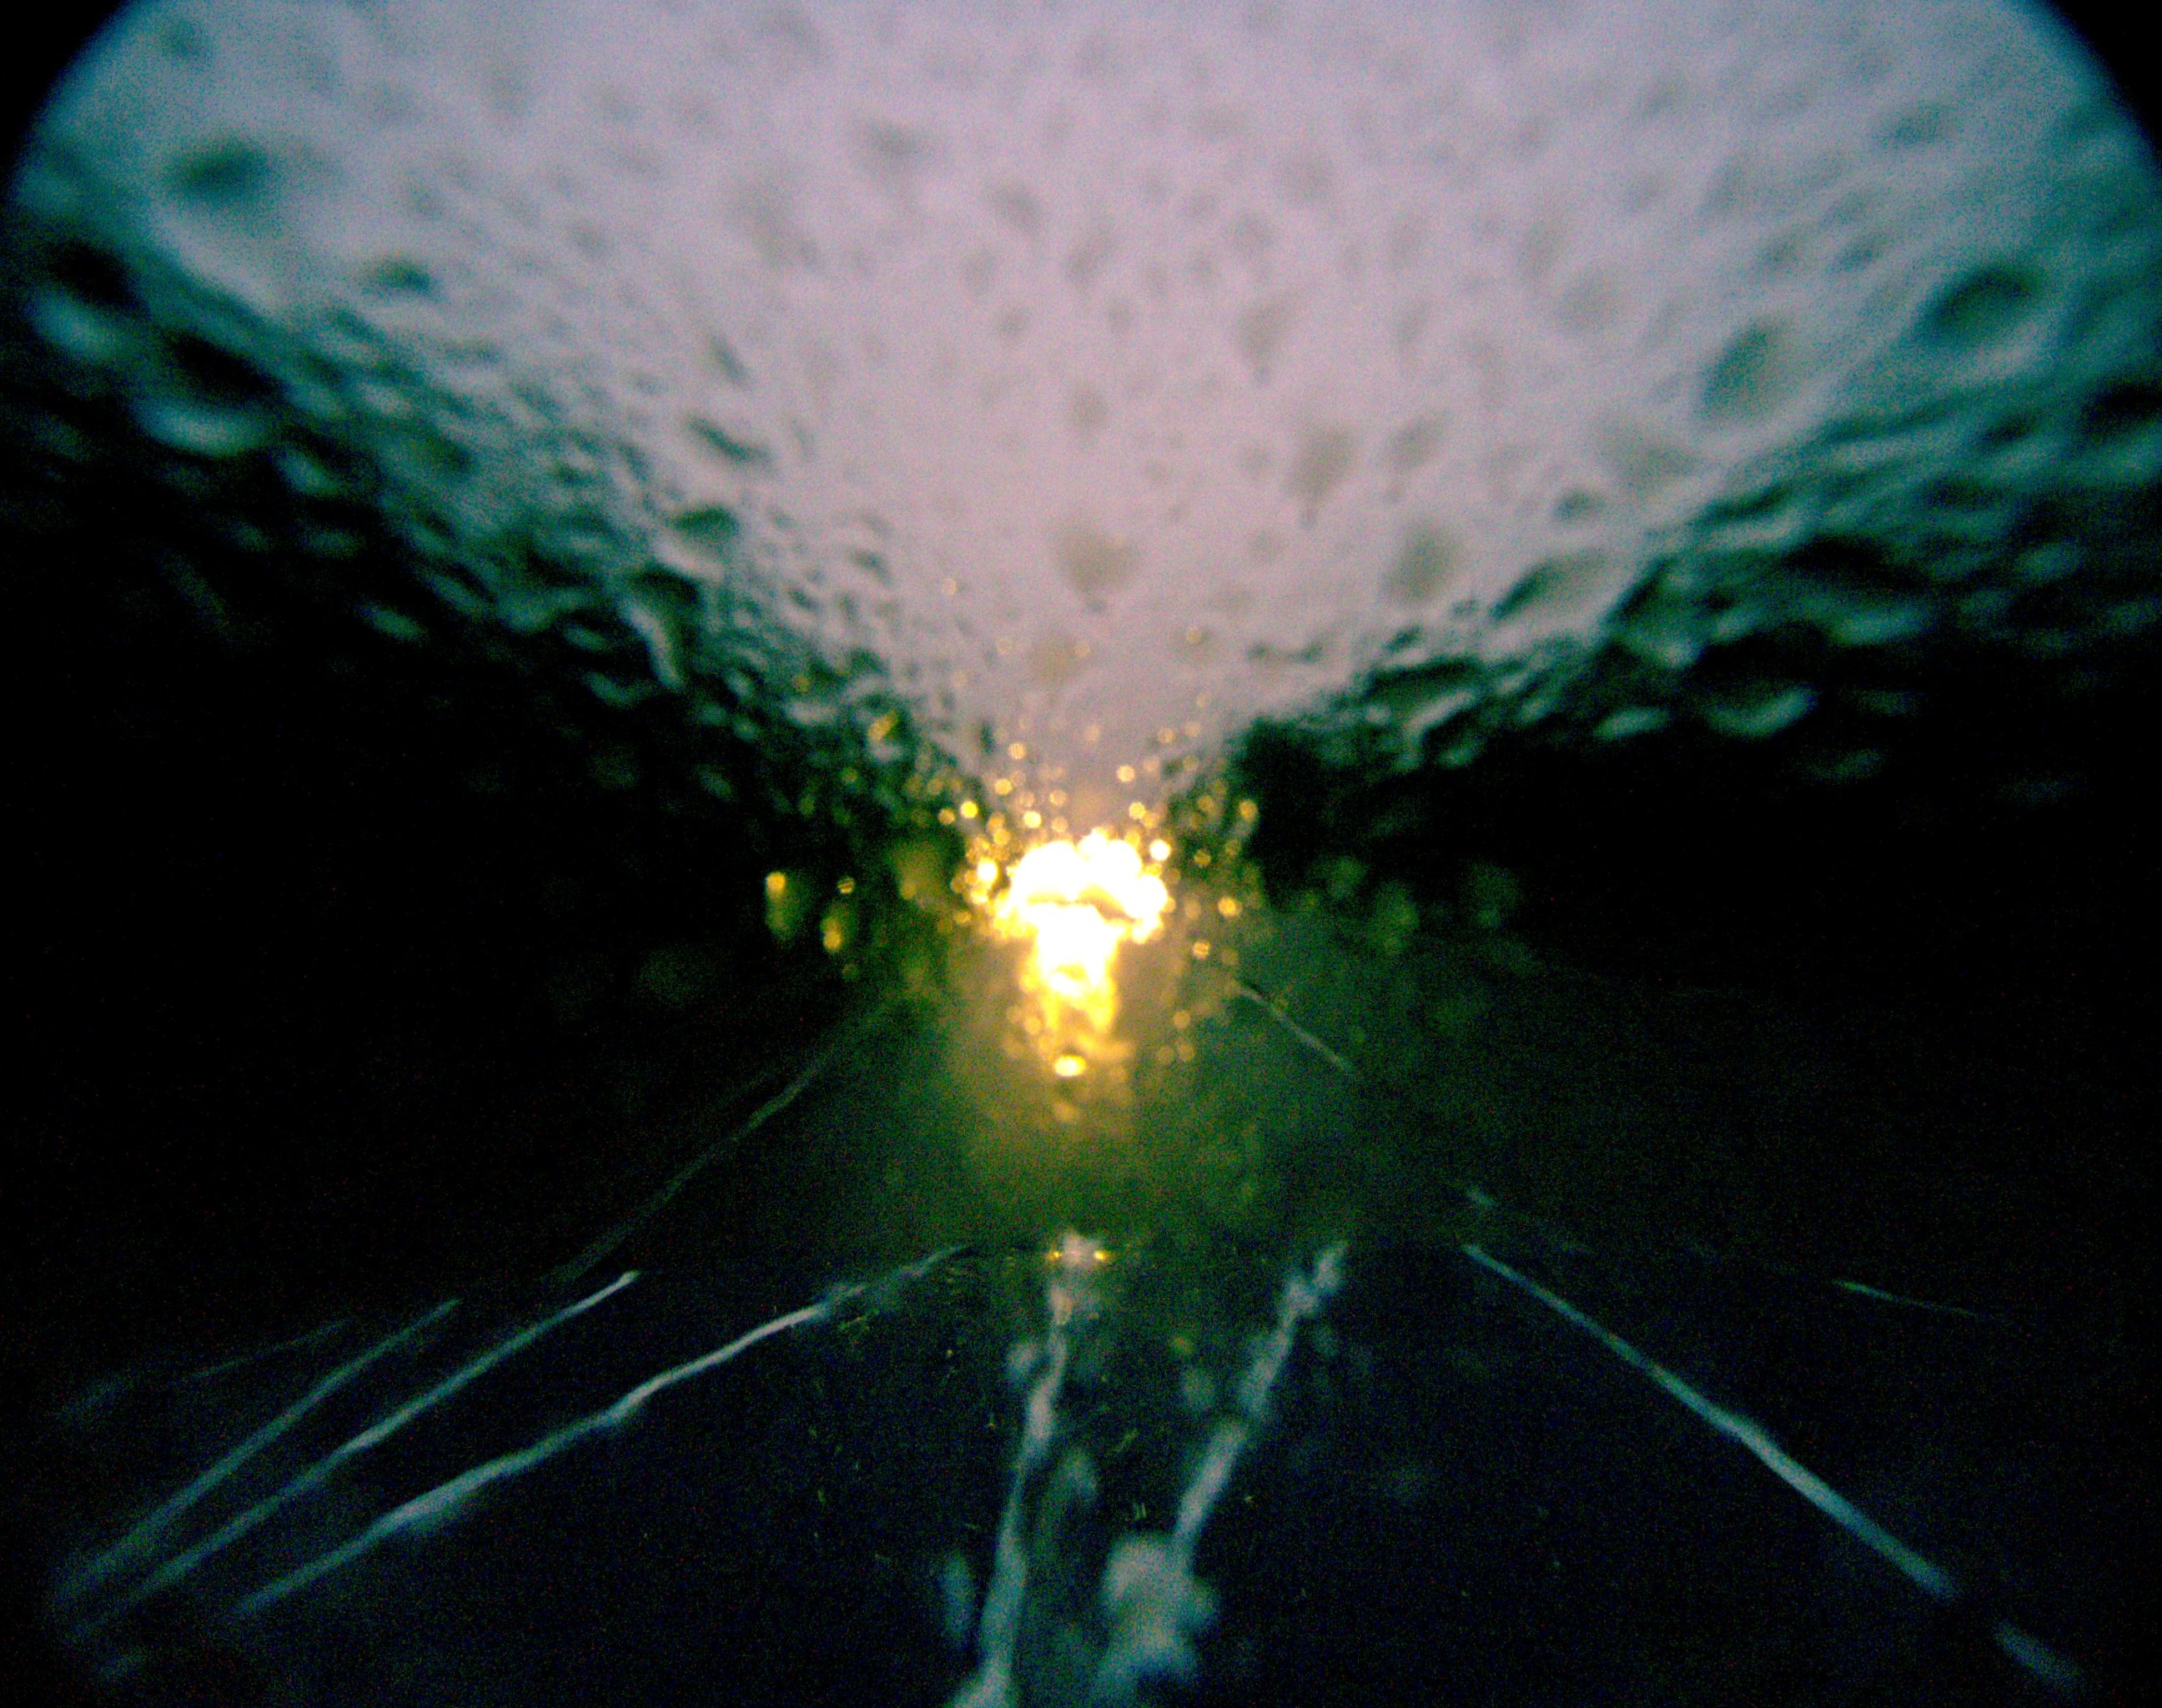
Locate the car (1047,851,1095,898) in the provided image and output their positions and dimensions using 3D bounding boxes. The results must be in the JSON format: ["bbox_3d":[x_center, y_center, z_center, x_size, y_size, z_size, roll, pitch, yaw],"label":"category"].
[{"bbox_3d":[-0.343,0.758,30.303,1.573,1.701,4.001,-1,0,4],"label":"car"}]
